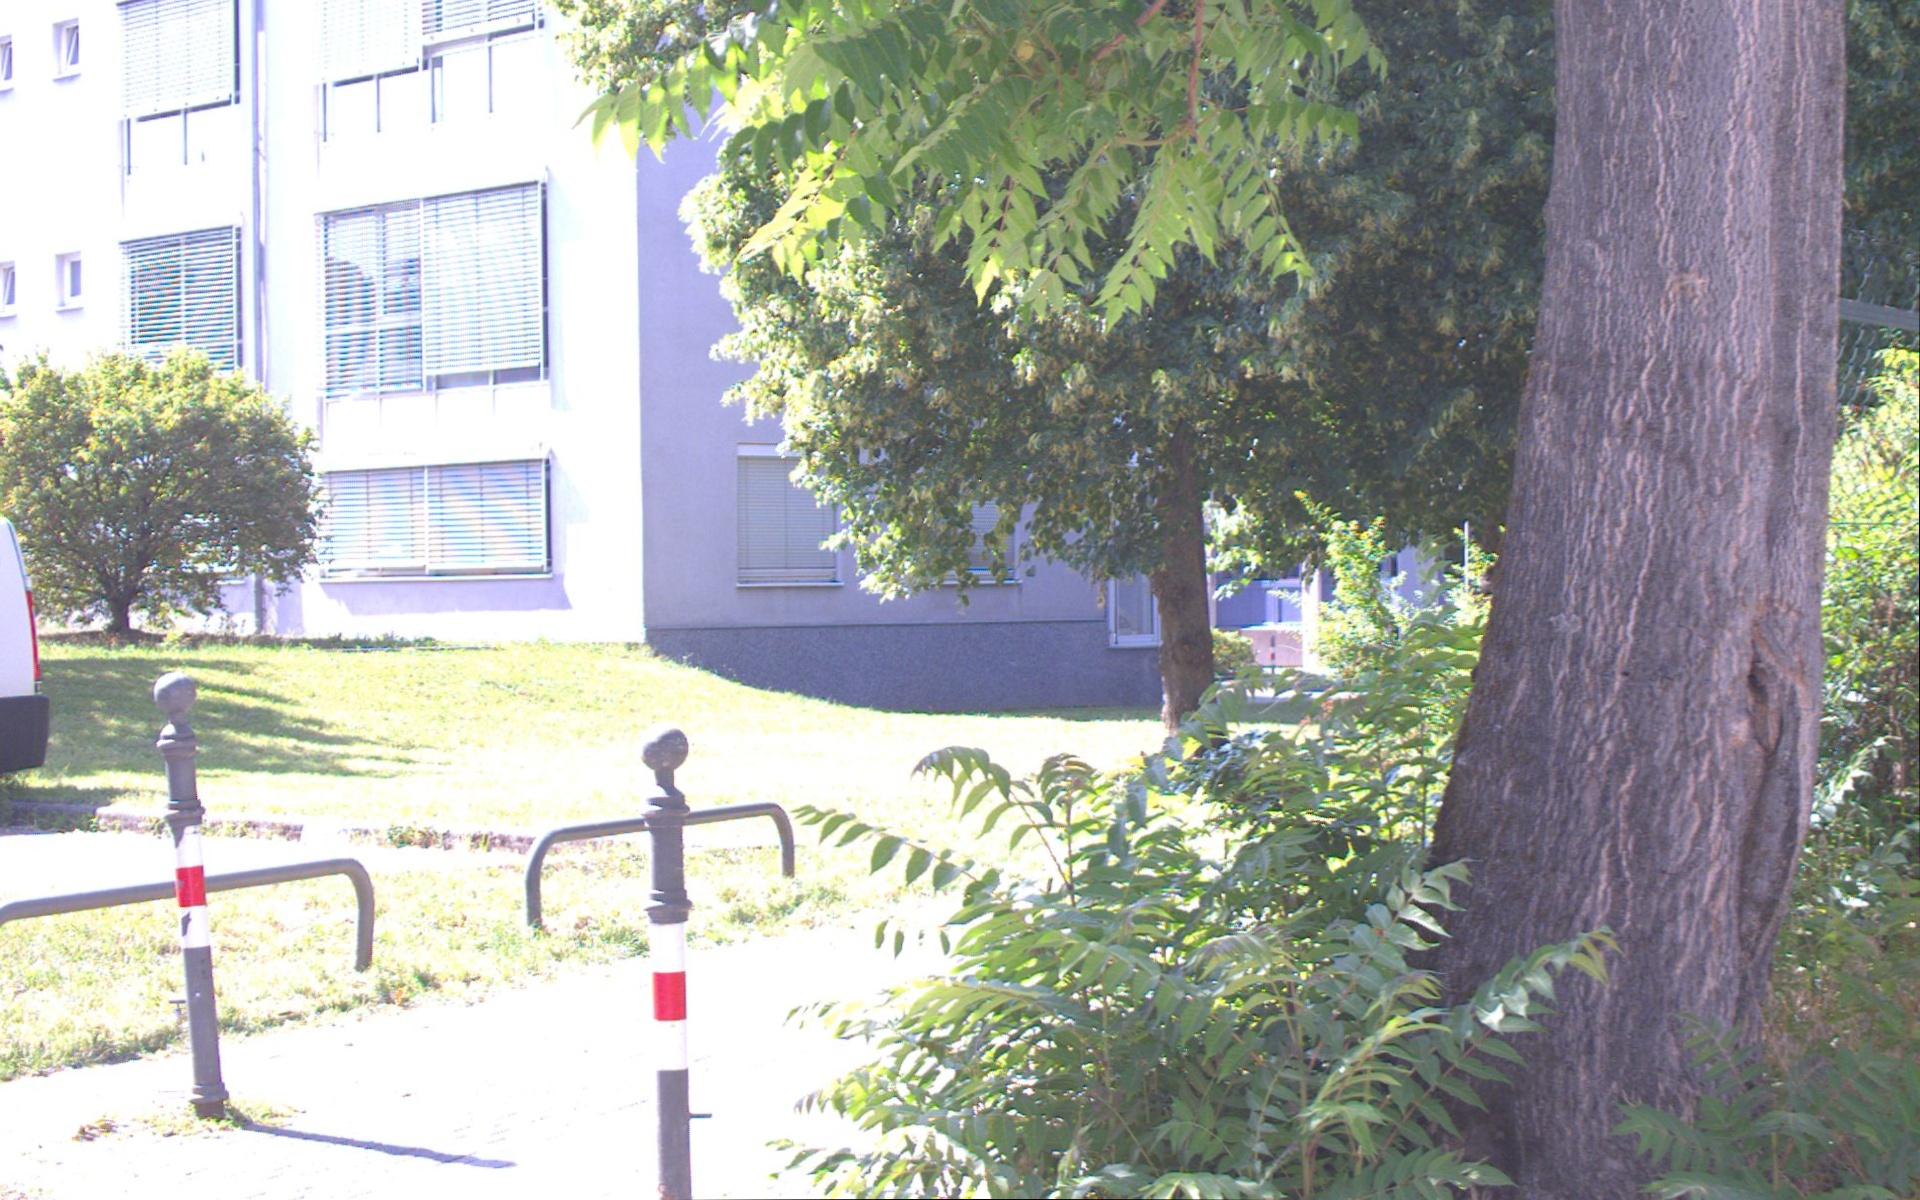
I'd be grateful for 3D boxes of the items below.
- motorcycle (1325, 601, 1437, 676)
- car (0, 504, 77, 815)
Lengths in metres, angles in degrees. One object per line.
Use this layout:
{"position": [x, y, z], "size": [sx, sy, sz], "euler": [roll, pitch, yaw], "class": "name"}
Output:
{"position": [7.222, 0.652, 58.979], "size": [2.056, 1.242, 0.630], "euler": [-1, 1, -38], "class": "motorcycle"}
{"position": [-8.159, 0.392, 20.867], "size": [5.025, 1.926, 1.999], "euler": [-1, 1, -38], "class": "car"}
